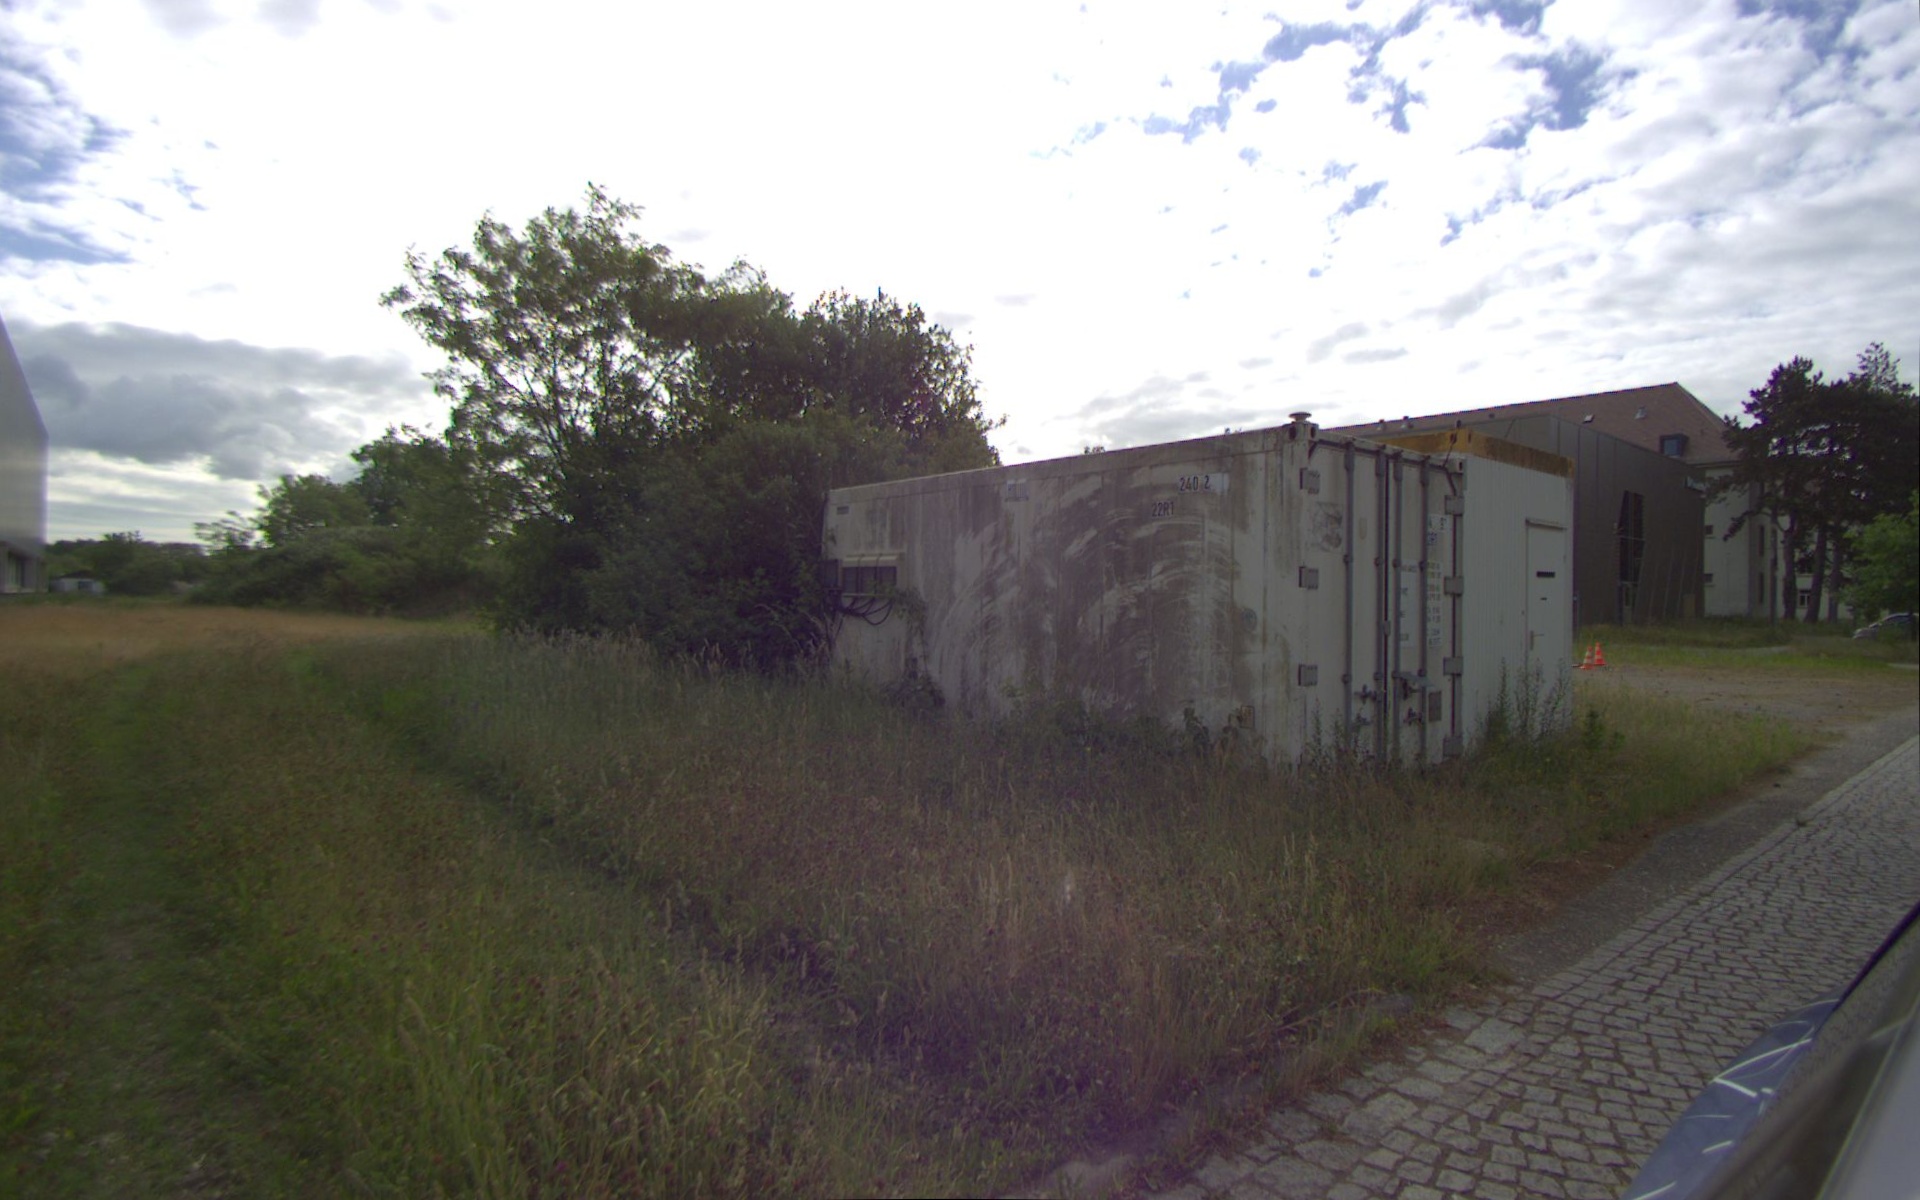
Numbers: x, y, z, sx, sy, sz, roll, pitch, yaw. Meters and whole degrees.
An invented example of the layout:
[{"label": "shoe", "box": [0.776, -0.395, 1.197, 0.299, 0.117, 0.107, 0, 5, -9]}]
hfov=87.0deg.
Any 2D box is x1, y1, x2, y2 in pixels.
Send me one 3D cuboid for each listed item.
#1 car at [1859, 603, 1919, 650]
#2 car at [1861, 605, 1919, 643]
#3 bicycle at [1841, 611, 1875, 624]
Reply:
[{"label": "car", "box": [34.918, 0.979, 37.040, 1.653, 1.601, 2.747, 1, 2, -40]}, {"label": "car", "box": [40.331, 1.046, 41.727, 1.899, 1.468, 4.532, 1, 2, -42]}, {"label": "bicycle", "box": [77.086, 1.488, 86.853, 0.705, 1.109, 2.160, 1, 0, -43]}]
